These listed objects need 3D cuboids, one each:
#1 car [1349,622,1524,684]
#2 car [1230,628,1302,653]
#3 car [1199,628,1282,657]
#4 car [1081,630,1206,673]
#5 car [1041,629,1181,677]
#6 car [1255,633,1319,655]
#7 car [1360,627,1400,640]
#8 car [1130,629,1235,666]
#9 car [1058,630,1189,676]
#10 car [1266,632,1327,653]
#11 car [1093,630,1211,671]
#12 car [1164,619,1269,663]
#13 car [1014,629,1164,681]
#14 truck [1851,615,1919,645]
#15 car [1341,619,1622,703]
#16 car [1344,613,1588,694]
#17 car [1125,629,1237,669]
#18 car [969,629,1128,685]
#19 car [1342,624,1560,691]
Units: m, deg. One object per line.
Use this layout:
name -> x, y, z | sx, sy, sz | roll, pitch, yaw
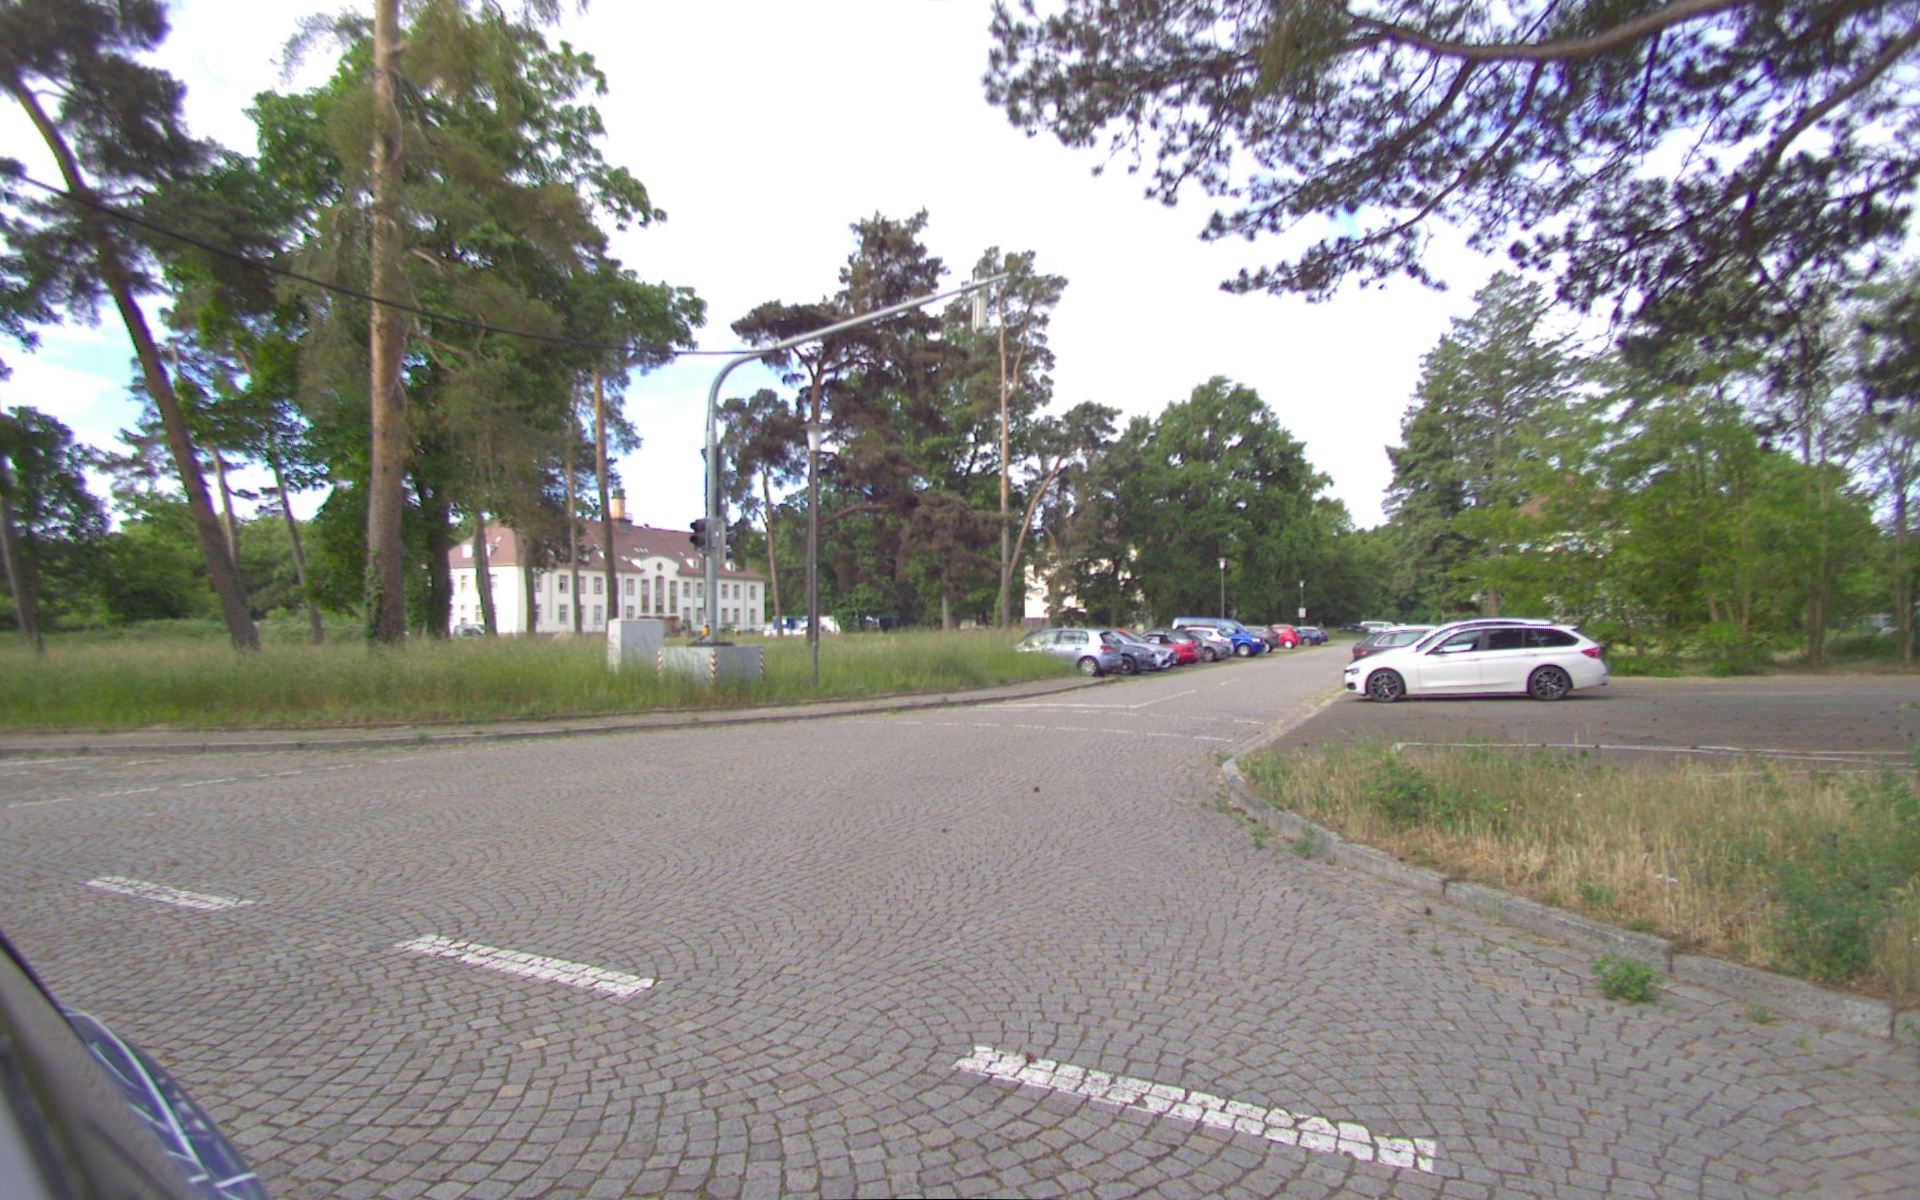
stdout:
car -> 12.783, 1.436, 27.311 | 4.091, 1.533, 1.722 | -3, -3, 26
car -> 21.052, 2.776, 69.683 | 4.555, 1.533, 1.826 | -3, -3, 24
car -> 16.762, 2.547, 60.439 | 4.555, 1.533, 1.826 | -3, -3, 24
car -> 7.252, 2.055, 40.071 | 4.555, 1.533, 1.826 | -3, -3, 24
car -> 5.341, 1.874, 35.790 | 4.555, 1.533, 1.826 | -3, -3, 24
car -> 25.422, 3.396, 78.757 | 4.555, 1.533, 1.826 | -3, -3, 24
car -> 51.706, 4.122, 124.638 | 4.555, 1.645, 1.826 | -1, -2, 24
car -> 10.492, 2.244, 47.742 | 4.555, 1.586, 1.826 | -3, -3, 24
car -> 6.137, 1.991, 38.042 | 4.555, 1.571, 1.826 | -3, -3, 24
car -> 27.513, 3.447, 82.653 | 4.555, 1.533, 1.826 | -3, -3, 24
car -> 8.076, 2.126, 42.562 | 4.555, 1.533, 1.826 | -3, -3, 24
car -> 13.253, 2.133, 52.303 | 4.953, 2.113, 1.825 | -3, -3, 25
car -> 4.236, 1.812, 33.386 | 4.555, 1.533, 1.826 | -3, -3, 24
truck -> 71.981, 2.331, 78.557 | 2.361, 2.215, 6.499 | -1, -2, 25
car -> 10.010, 1.195, 19.828 | 4.626, 1.461, 1.826 | -3, -3, 24
car -> 10.943, 1.189, 22.256 | 4.555, 1.590, 1.826 | -3, -3, 24
car -> 9.767, 2.163, 44.766 | 4.555, 1.571, 1.826 | -3, -3, 24
car -> 2.731, 1.742, 31.114 | 4.547, 1.559, 1.830 | -3, -2, 18
car -> 11.869, 1.403, 24.724 | 4.560, 1.480, 1.825 | -3, -3, 26
